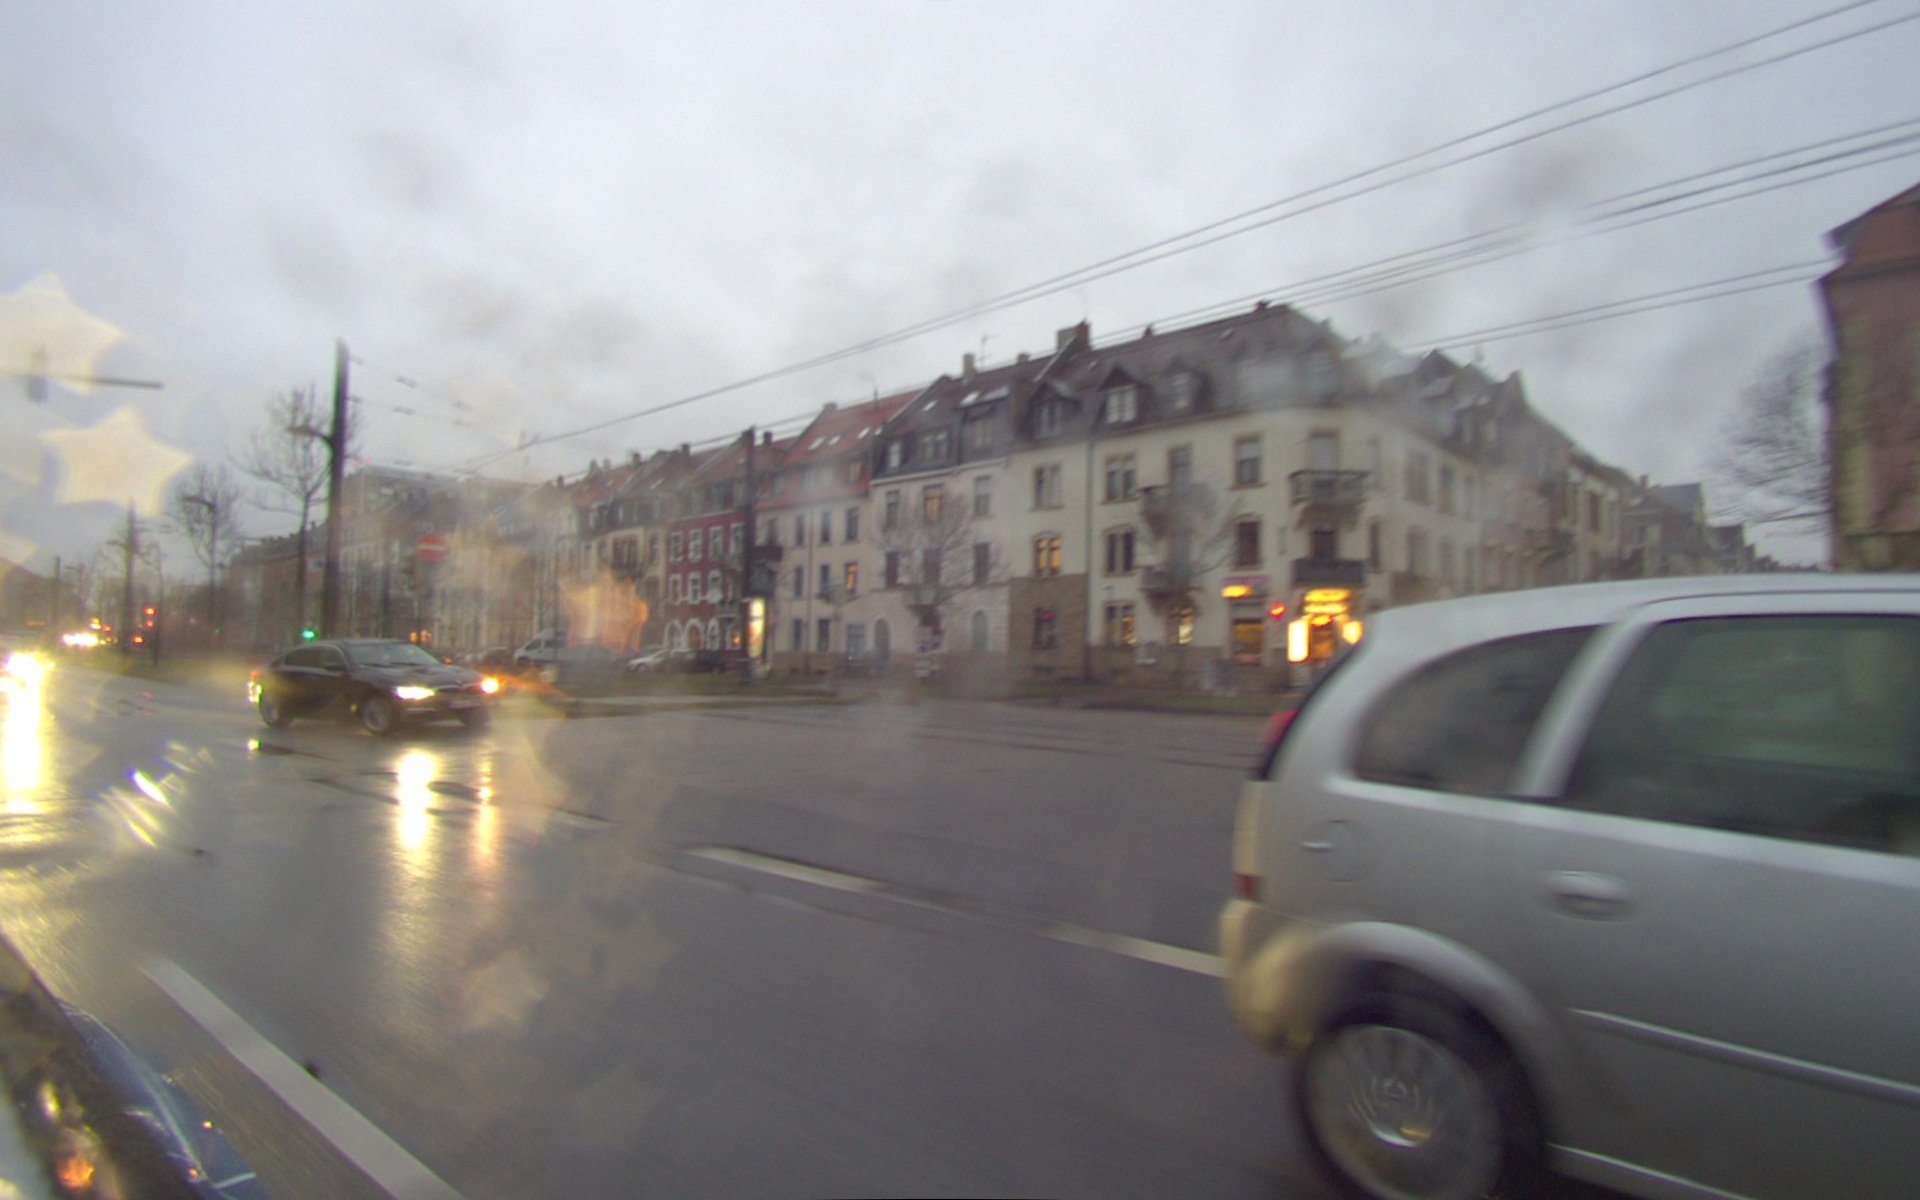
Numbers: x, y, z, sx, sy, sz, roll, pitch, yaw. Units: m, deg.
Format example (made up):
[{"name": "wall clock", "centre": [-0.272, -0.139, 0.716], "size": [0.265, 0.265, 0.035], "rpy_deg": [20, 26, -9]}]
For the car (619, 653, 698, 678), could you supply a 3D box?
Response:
[{"name": "car", "centre": [-16.900, 3.672, 56.844], "size": [3.937, 1.342, 2.003], "rpy_deg": [2, -3, -7]}]

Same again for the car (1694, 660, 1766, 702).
[{"name": "car", "centre": [28.856, 2.986, 37.899], "size": [1.998, 1.431, 3.947], "rpy_deg": [-2, -3, 39]}]

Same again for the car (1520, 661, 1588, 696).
[{"name": "car", "centre": [27.365, 3.586, 46.561], "size": [1.795, 1.497, 3.942], "rpy_deg": [-3, -5, 44]}]

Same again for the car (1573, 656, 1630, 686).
[{"name": "car", "centre": [34.274, 3.772, 54.055], "size": [1.795, 1.497, 3.942], "rpy_deg": [-3, -5, 44]}]

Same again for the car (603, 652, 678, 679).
[{"name": "car", "centre": [-18.703, 3.854, 59.423], "size": [3.935, 1.497, 2.004], "rpy_deg": [2, -4, -11]}]

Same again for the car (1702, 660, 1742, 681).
[{"name": "car", "centre": [56.038, 5.169, 74.365], "size": [1.795, 1.497, 4.594], "rpy_deg": [-3, -5, 44]}]

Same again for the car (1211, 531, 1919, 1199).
[{"name": "car", "centre": [2.801, 0.691, 2.123], "size": [4.049, 1.612, 1.791], "rpy_deg": [-2, -3, 39]}]

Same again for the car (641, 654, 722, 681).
[{"name": "car", "centre": [-14.801, 3.582, 53.950], "size": [3.937, 1.342, 2.003], "rpy_deg": [2, -3, -7]}]

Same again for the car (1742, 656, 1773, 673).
[{"name": "car", "centre": [73.766, 5.976, 93.600], "size": [1.795, 1.497, 3.942], "rpy_deg": [-3, -5, 44]}]

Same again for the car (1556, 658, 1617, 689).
[{"name": "car", "centre": [31.427, 3.669, 50.722], "size": [1.795, 1.497, 3.942], "rpy_deg": [-3, -5, 44]}]

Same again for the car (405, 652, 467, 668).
[{"name": "car", "centre": [-42.024, 4.814, 81.173], "size": [3.937, 1.178, 2.003], "rpy_deg": [1, -3, -7]}]

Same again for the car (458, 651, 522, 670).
[{"name": "car", "centre": [-35.124, 4.515, 75.724], "size": [3.935, 1.342, 2.004], "rpy_deg": [2, -4, -10]}]

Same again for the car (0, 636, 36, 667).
[{"name": "car", "centre": [-54.852, 2.977, 58.385], "size": [4.001, 1.769, 1.971], "rpy_deg": [-3, -5, 44]}]

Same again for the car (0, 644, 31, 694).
[{"name": "car", "centre": [-30.393, 2.124, 31.640], "size": [1.788, 1.508, 4.056], "rpy_deg": [2, -3, -45]}]

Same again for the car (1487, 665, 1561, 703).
[{"name": "car", "centre": [23.885, 3.509, 42.797], "size": [1.795, 1.497, 3.942], "rpy_deg": [-3, -5, 44]}]

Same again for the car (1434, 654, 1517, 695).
[{"name": "car", "centre": [20.088, 2.879, 39.406], "size": [1.795, 1.497, 3.942], "rpy_deg": [-3, -5, 44]}]

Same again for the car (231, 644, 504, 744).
[{"name": "car", "centre": [-9.864, 1.452, 16.743], "size": [4.808, 1.441, 1.796], "rpy_deg": [-1, -3, 31]}]

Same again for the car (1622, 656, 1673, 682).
[{"name": "car", "centre": [40.519, 4.058, 59.612], "size": [1.795, 1.497, 3.942], "rpy_deg": [-3, -5, 44]}]

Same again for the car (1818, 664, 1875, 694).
[{"name": "car", "centre": [46.823, 4.146, 53.451], "size": [2.001, 1.431, 3.941], "rpy_deg": [-2, -4, 44]}]

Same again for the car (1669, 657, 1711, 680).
[{"name": "car", "centre": [49.979, 4.700, 69.275], "size": [1.795, 1.497, 3.942], "rpy_deg": [-3, -5, 44]}]

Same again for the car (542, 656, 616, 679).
[{"name": "car", "centre": [-23.943, 4.224, 63.701], "size": [3.937, 1.342, 2.003], "rpy_deg": [2, -3, -7]}]

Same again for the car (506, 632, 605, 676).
[{"name": "car", "centre": [-27.244, 3.657, 68.333], "size": [5.780, 2.819, 2.001], "rpy_deg": [1, -3, -3]}]
